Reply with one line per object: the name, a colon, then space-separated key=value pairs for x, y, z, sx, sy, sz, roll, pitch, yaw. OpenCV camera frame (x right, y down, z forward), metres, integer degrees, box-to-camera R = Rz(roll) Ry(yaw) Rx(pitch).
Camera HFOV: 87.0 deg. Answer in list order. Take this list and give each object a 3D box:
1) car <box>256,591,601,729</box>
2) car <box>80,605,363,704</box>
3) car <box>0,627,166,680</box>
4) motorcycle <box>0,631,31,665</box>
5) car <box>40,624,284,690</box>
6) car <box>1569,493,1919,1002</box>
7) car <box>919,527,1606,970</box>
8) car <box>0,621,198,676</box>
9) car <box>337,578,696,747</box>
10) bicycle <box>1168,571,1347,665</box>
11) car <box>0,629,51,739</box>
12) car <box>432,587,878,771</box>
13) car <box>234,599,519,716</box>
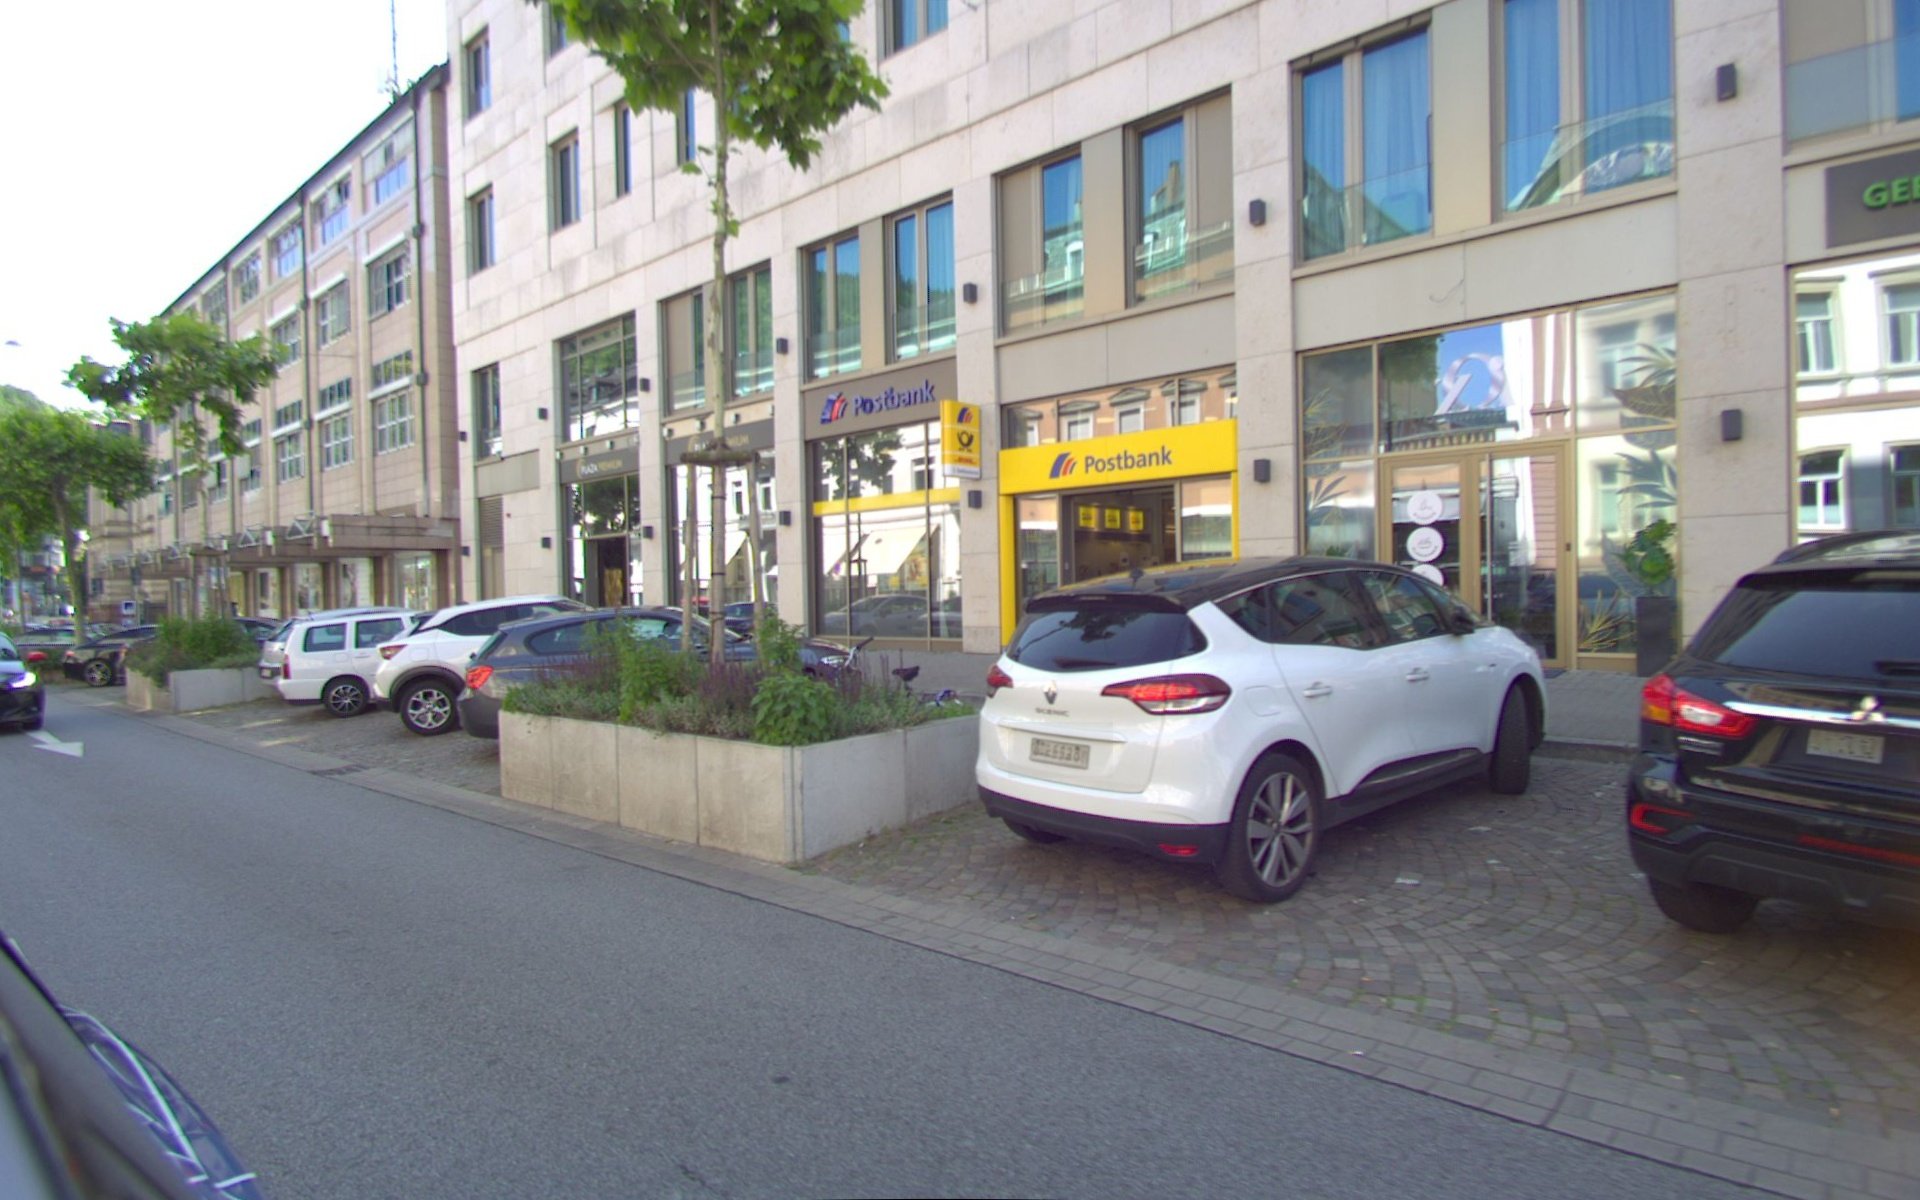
car: x=-8.151 y=0.817 z=15.842 sx=4.426 sy=1.443 sz=1.869 roll=-7 pitch=4 yaw=-29
car: x=-15.550 y=1.093 z=21.611 sx=4.455 sy=1.515 sz=1.798 roll=-5 pitch=3 yaw=-18
car: x=-27.357 y=1.624 z=31.085 sx=4.333 sy=1.457 sz=1.889 roll=-1 pitch=-1 yaw=-9
motorcycle: x=-40.638 y=2.029 z=42.078 sx=3.058 sy=1.361 sz=0.979 roll=-1 pitch=-1 yaw=-1
car: x=-19.581 y=1.375 z=24.983 sx=4.552 sy=1.457 sz=1.734 roll=-1 pitch=-1 yaw=-4
car: x=4.744 y=0.350 z=4.156 sx=3.965 sy=1.614 sz=1.965 roll=-4 pitch=3 yaw=-26
car: x=2.057 y=0.524 z=6.257 sx=4.107 sy=1.648 sz=2.106 roll=-7 pitch=4 yaw=-40
car: x=-28.705 y=1.588 z=33.716 sx=5.052 sy=1.645 sz=1.847 roll=-1 pitch=-1 yaw=-9
car: x=-5.637 y=0.718 z=13.396 sx=3.971 sy=1.604 sz=1.825 roll=-6 pitch=4 yaw=-15
bicycle: x=3.784 y=0.233 z=13.022 sx=2.160 sy=1.115 sz=0.490 roll=-2 pitch=2 yaw=42
car: x=-14.830 y=1.179 z=14.693 sx=4.102 sy=1.489 sz=1.845 roll=-2 pitch=-2 yaw=40
car: x=-3.202 y=0.744 z=11.136 sx=4.247 sy=1.460 sz=1.792 roll=-4 pitch=2 yaw=-15
car: x=-10.242 y=0.901 z=18.002 sx=1.819 sy=1.539 sz=3.947 roll=1 pitch=5 yaw=40
